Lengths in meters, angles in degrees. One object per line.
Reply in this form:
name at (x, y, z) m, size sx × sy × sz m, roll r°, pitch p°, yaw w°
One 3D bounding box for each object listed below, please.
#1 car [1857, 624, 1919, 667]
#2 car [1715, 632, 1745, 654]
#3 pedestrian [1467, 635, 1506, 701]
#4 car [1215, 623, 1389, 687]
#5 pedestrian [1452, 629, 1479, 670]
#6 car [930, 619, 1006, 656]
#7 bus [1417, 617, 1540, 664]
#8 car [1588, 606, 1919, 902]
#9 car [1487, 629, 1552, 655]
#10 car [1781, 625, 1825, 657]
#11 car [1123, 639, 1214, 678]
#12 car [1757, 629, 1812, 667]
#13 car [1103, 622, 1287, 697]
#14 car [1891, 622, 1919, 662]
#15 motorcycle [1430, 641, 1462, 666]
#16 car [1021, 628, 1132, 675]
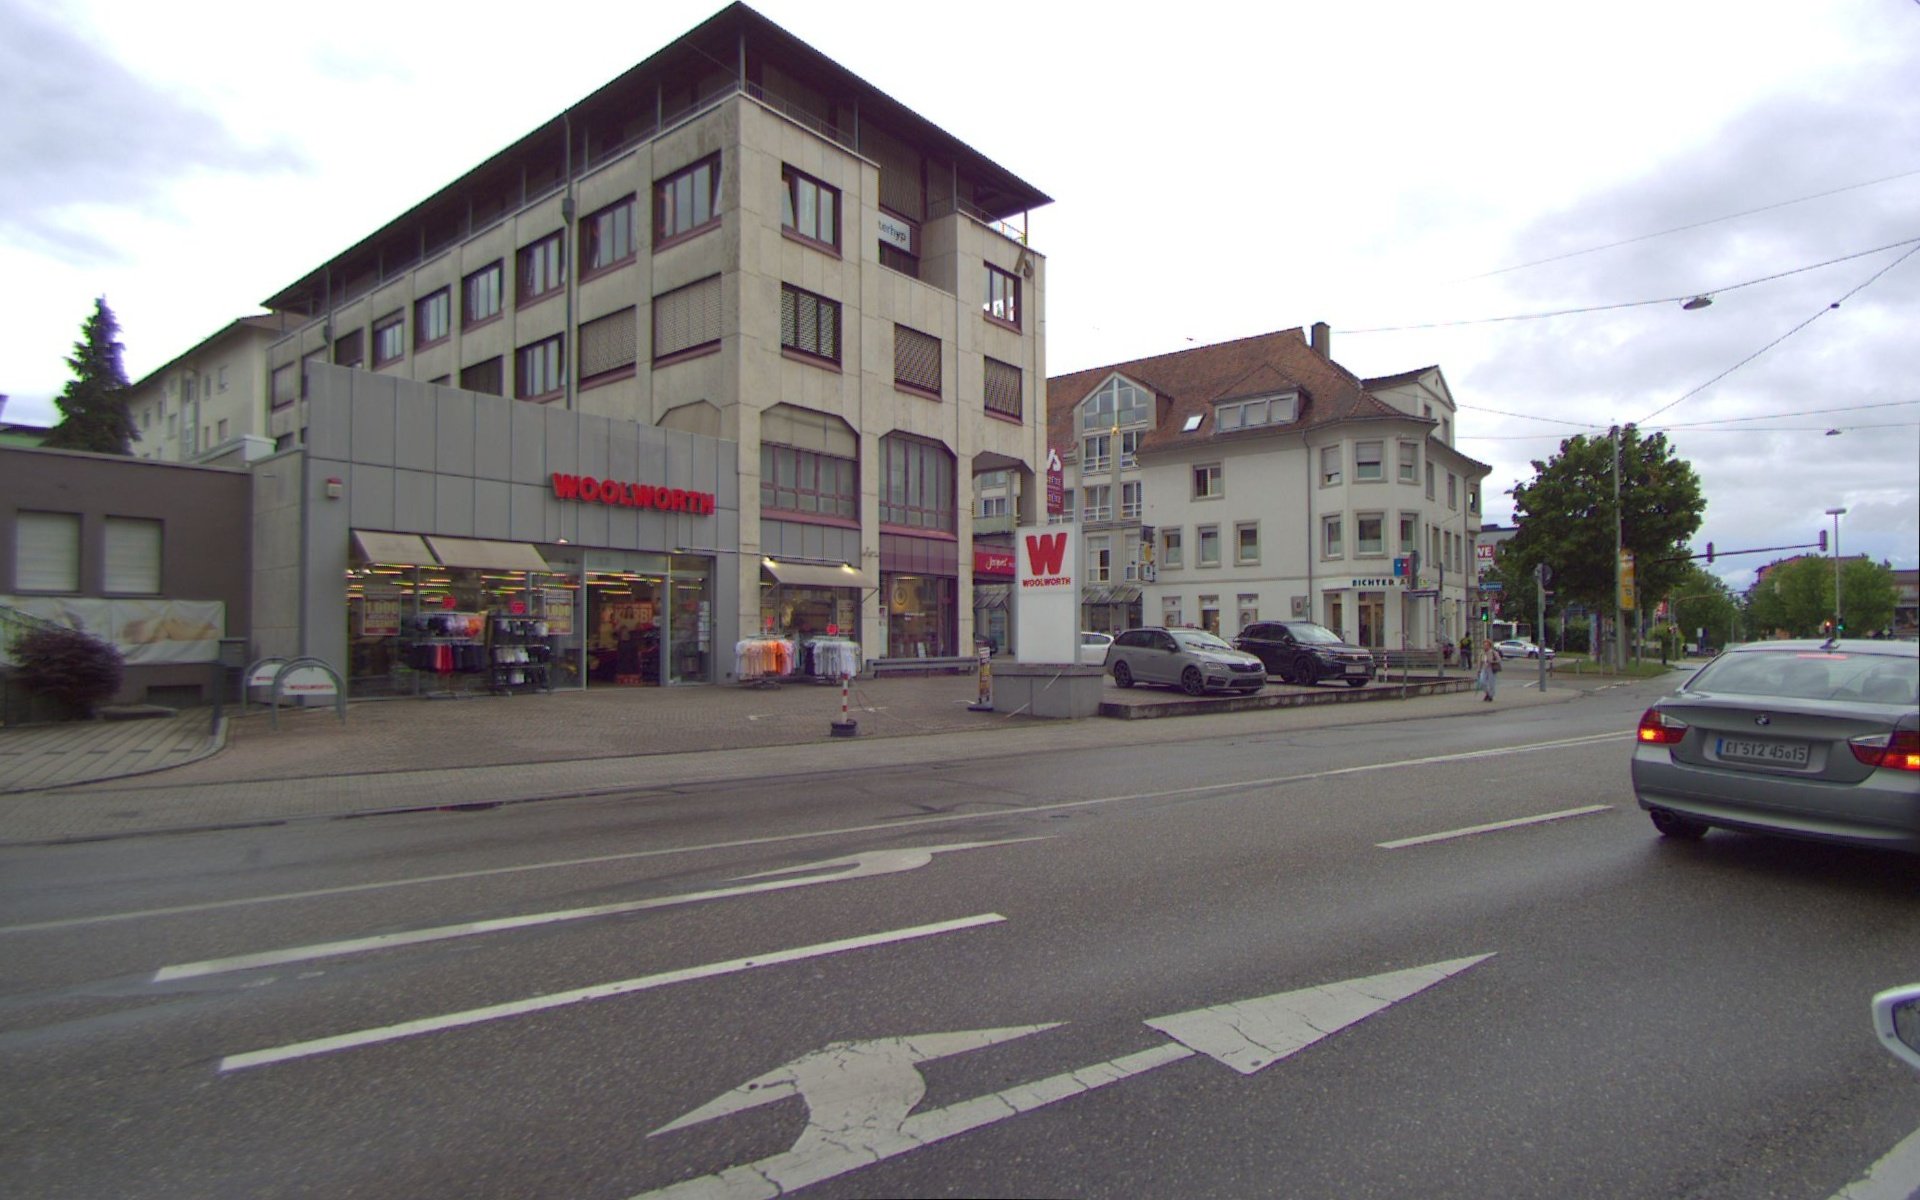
car at (42.069, 2.024, 44.891) m, size 1.963 × 1.839 × 3.995 m, roll -1°, pitch -2°, yaw 28°
car at (65.665, 3.641, 85.680) m, size 1.862 × 1.839 × 3.987 m, roll -1°, pitch -2°, yaw 35°
pedestrian at (12.784, 1.649, 24.388) m, size 0.751 × 1.549 × 0.506 m, roll 1°, pitch -1°, yaw 38°
car at (8.886, 1.416, 26.533) m, size 1.926 × 1.526 × 4.409 m, roll 1°, pitch -2°, yaw -23°
pedestrian at (21.850, 2.135, 43.418) m, size 0.949 × 1.731 × 0.932 m, roll -1°, pitch -1°, yaw 33°
car at (0.448, 2.117, 57.324) m, size 3.938 × 2.040 × 1.992 m, roll -2°, pitch -2°, yaw 38°
bus at (44.197, 3.339, 85.999) m, size 2.886 × 3.147 × 9.060 m, roll 0°, pitch 3°, yaw -32°
car at (6.423, 0.853, 7.019) m, size 4.324 × 1.483 × 1.788 m, roll 1°, pitch 1°, yaw -33°
car at (42.007, 3.179, 75.498) m, size 3.946 × 1.906 × 1.814 m, roll -2°, pitch -3°, yaw 44°
car at (56.074, 2.697, 66.872) m, size 1.968 × 2.040 × 3.986 m, roll -1°, pitch -2°, yaw 36°
car at (10.224, 2.828, 49.430) m, size 3.936 × 1.839 × 1.993 m, roll -1°, pitch -2°, yaw 37°
car at (39.579, 2.271, 48.272) m, size 1.821 × 1.706 × 3.986 m, roll 0°, pitch -1°, yaw 36°
car at (5.263, 1.319, 23.129) m, size 1.859 × 1.546 × 4.435 m, roll 1°, pitch -2°, yaw -23°
car at (50.191, 2.185, 52.376) m, size 1.968 × 2.040 × 3.986 m, roll -1°, pitch -2°, yaw 37°
motorcycle at (24.129, 2.627, 49.828) m, size 0.711 × 1.194 × 2.575 m, roll -1°, pitch -2°, yaw 42°
car at (4.258, 1.909, 36.859) m, size 3.700 × 1.519 × 1.577 m, roll 4°, pitch -3°, yaw -17°
